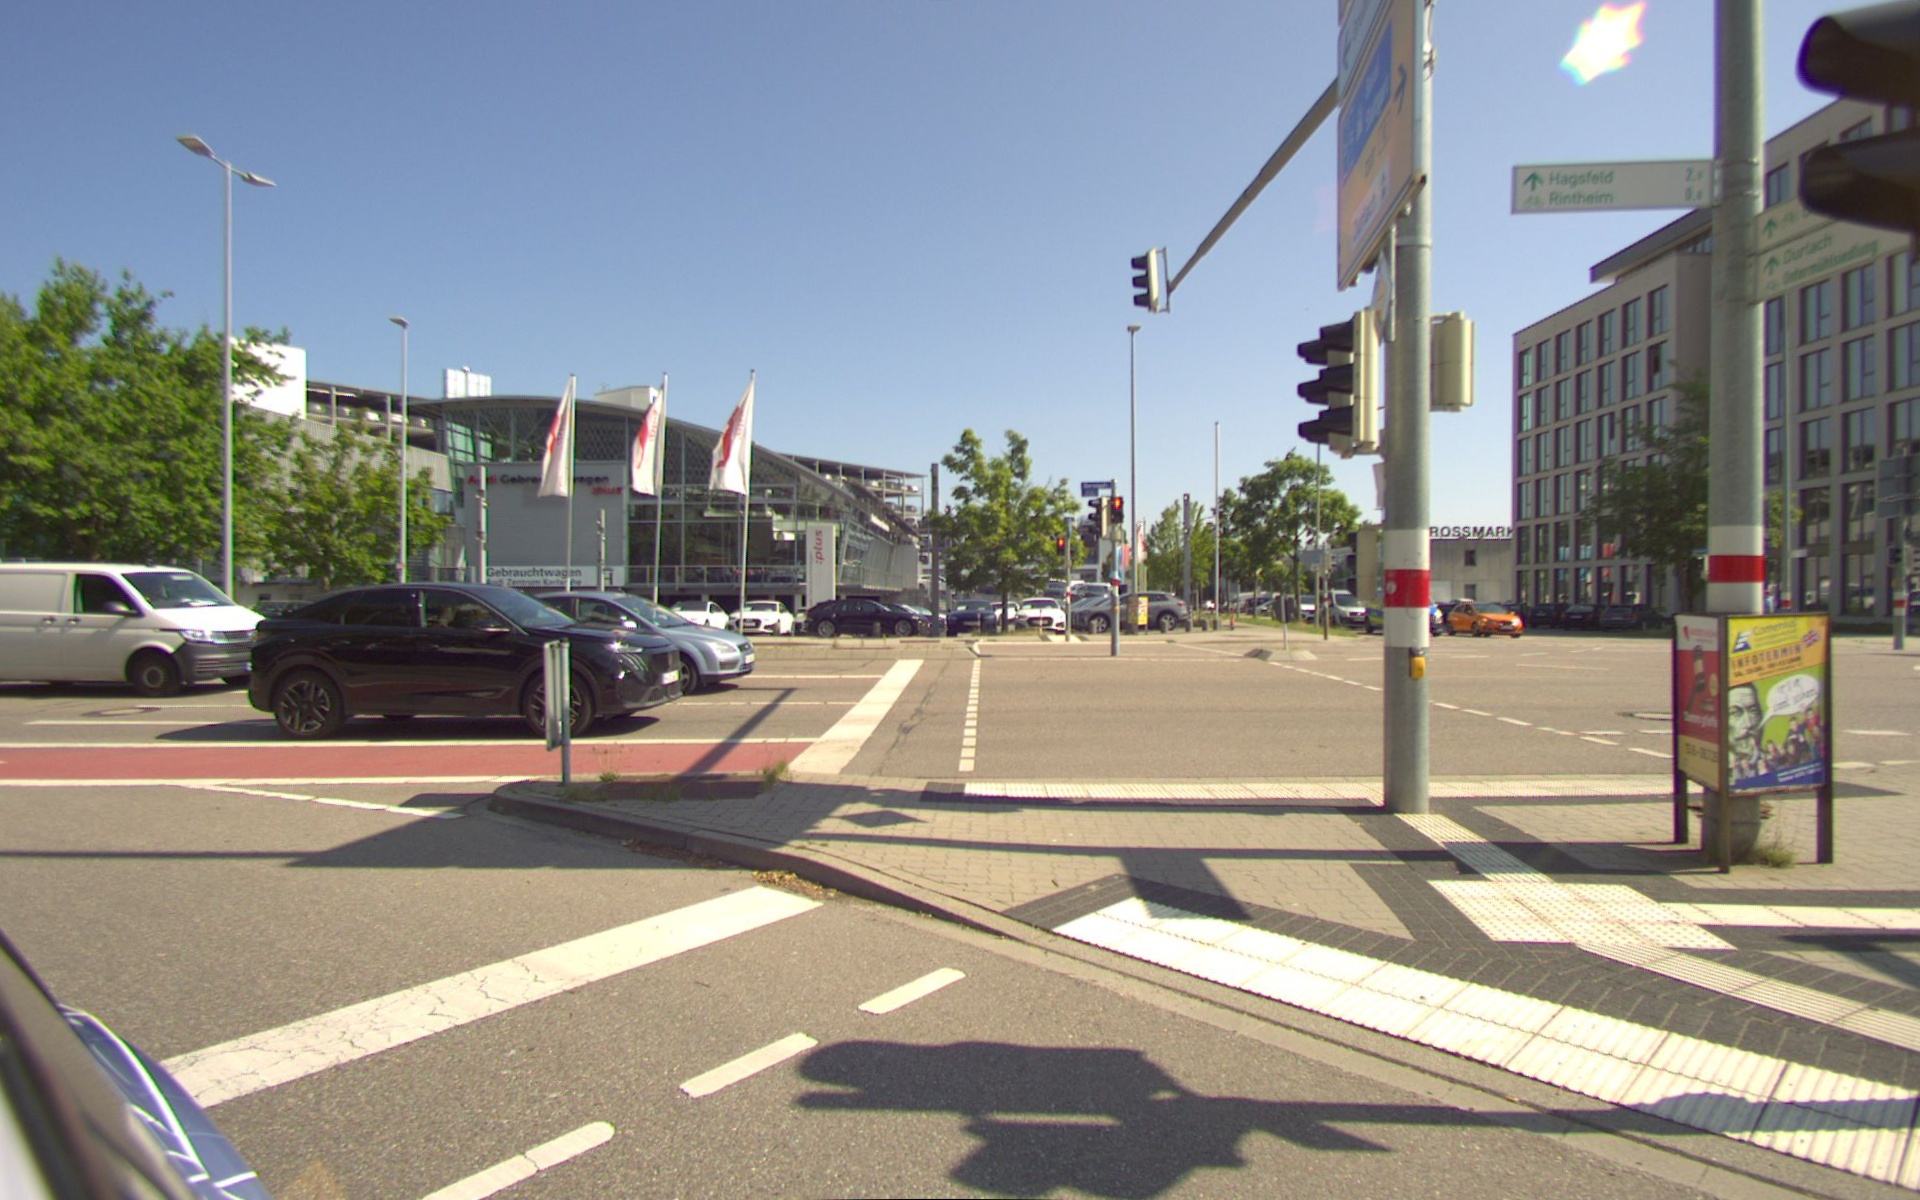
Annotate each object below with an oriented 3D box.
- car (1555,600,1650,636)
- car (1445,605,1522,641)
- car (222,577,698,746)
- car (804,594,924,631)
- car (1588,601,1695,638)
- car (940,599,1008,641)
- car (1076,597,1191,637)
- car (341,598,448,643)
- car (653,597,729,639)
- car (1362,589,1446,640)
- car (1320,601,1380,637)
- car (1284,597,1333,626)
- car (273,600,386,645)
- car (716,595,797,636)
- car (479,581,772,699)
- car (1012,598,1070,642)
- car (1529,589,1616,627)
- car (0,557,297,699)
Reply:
[{"bbox_3d":[33.865,0.923,53.467,3.977,1.841,1.983,0,-1,25],"label":"car"},{"bbox_3d":[21.001,0.898,40.750,1.722,1.374,3.851,0,-1,12],"label":"car"},{"bbox_3d":[-5.368,0.632,11.218,4.443,1.639,1.714,-1,1,3],"label":"car"},{"bbox_3d":[-3.567,0.476,37.931,4.293,1.360,1.820,0,-1,2],"label":"car"},{"bbox_3d":[33.828,0.985,50.348,3.967,1.751,1.988,-1,0,18],"label":"car"},{"bbox_3d":[0.584,0.717,36.982,1.977,1.472,3.989,0,-1,8],"label":"car"},{"bbox_3d":[7.020,0.690,41.366,4.425,1.599,1.977,0,-1,5],"label":"car"},{"bbox_3d":[-20.927,0.747,37.610,1.762,1.585,3.887,0,-1,1],"label":"car"},{"bbox_3d":[-9.982,0.658,37.808,1.762,1.482,3.887,0,-1,1],"label":"car"},{"bbox_3d":[18.001,0.583,41.278,2.164,1.923,4.712,0,-1,12],"label":"car"},{"bbox_3d":[18.317,0.855,47.707,1.647,1.568,3.849,0,0,5],"label":"car"},{"bbox_3d":[19.014,0.602,55.348,1.894,1.504,3.853,0,0,10],"label":"car"},{"bbox_3d":[-23.477,0.813,37.872,1.762,1.585,3.887,0,-1,1],"label":"car"},{"bbox_3d":[-7.431,0.569,37.369,1.979,1.432,4.110,0,-1,3],"label":"car"},{"bbox_3d":[-4.919,0.554,15.124,3.788,1.625,1.755,0,0,10],"label":"car"},{"bbox_3d":[3.011,0.682,36.968,1.867,1.472,3.990,0,0,8],"label":"car"},{"bbox_3d":[34.441,0.444,57.011,3.977,2.029,1.983,0,-1,25],"label":"car"},{"bbox_3d":[-13.045,0.391,15.334,4.933,2.022,1.740,0,1,3],"label":"car"}]
